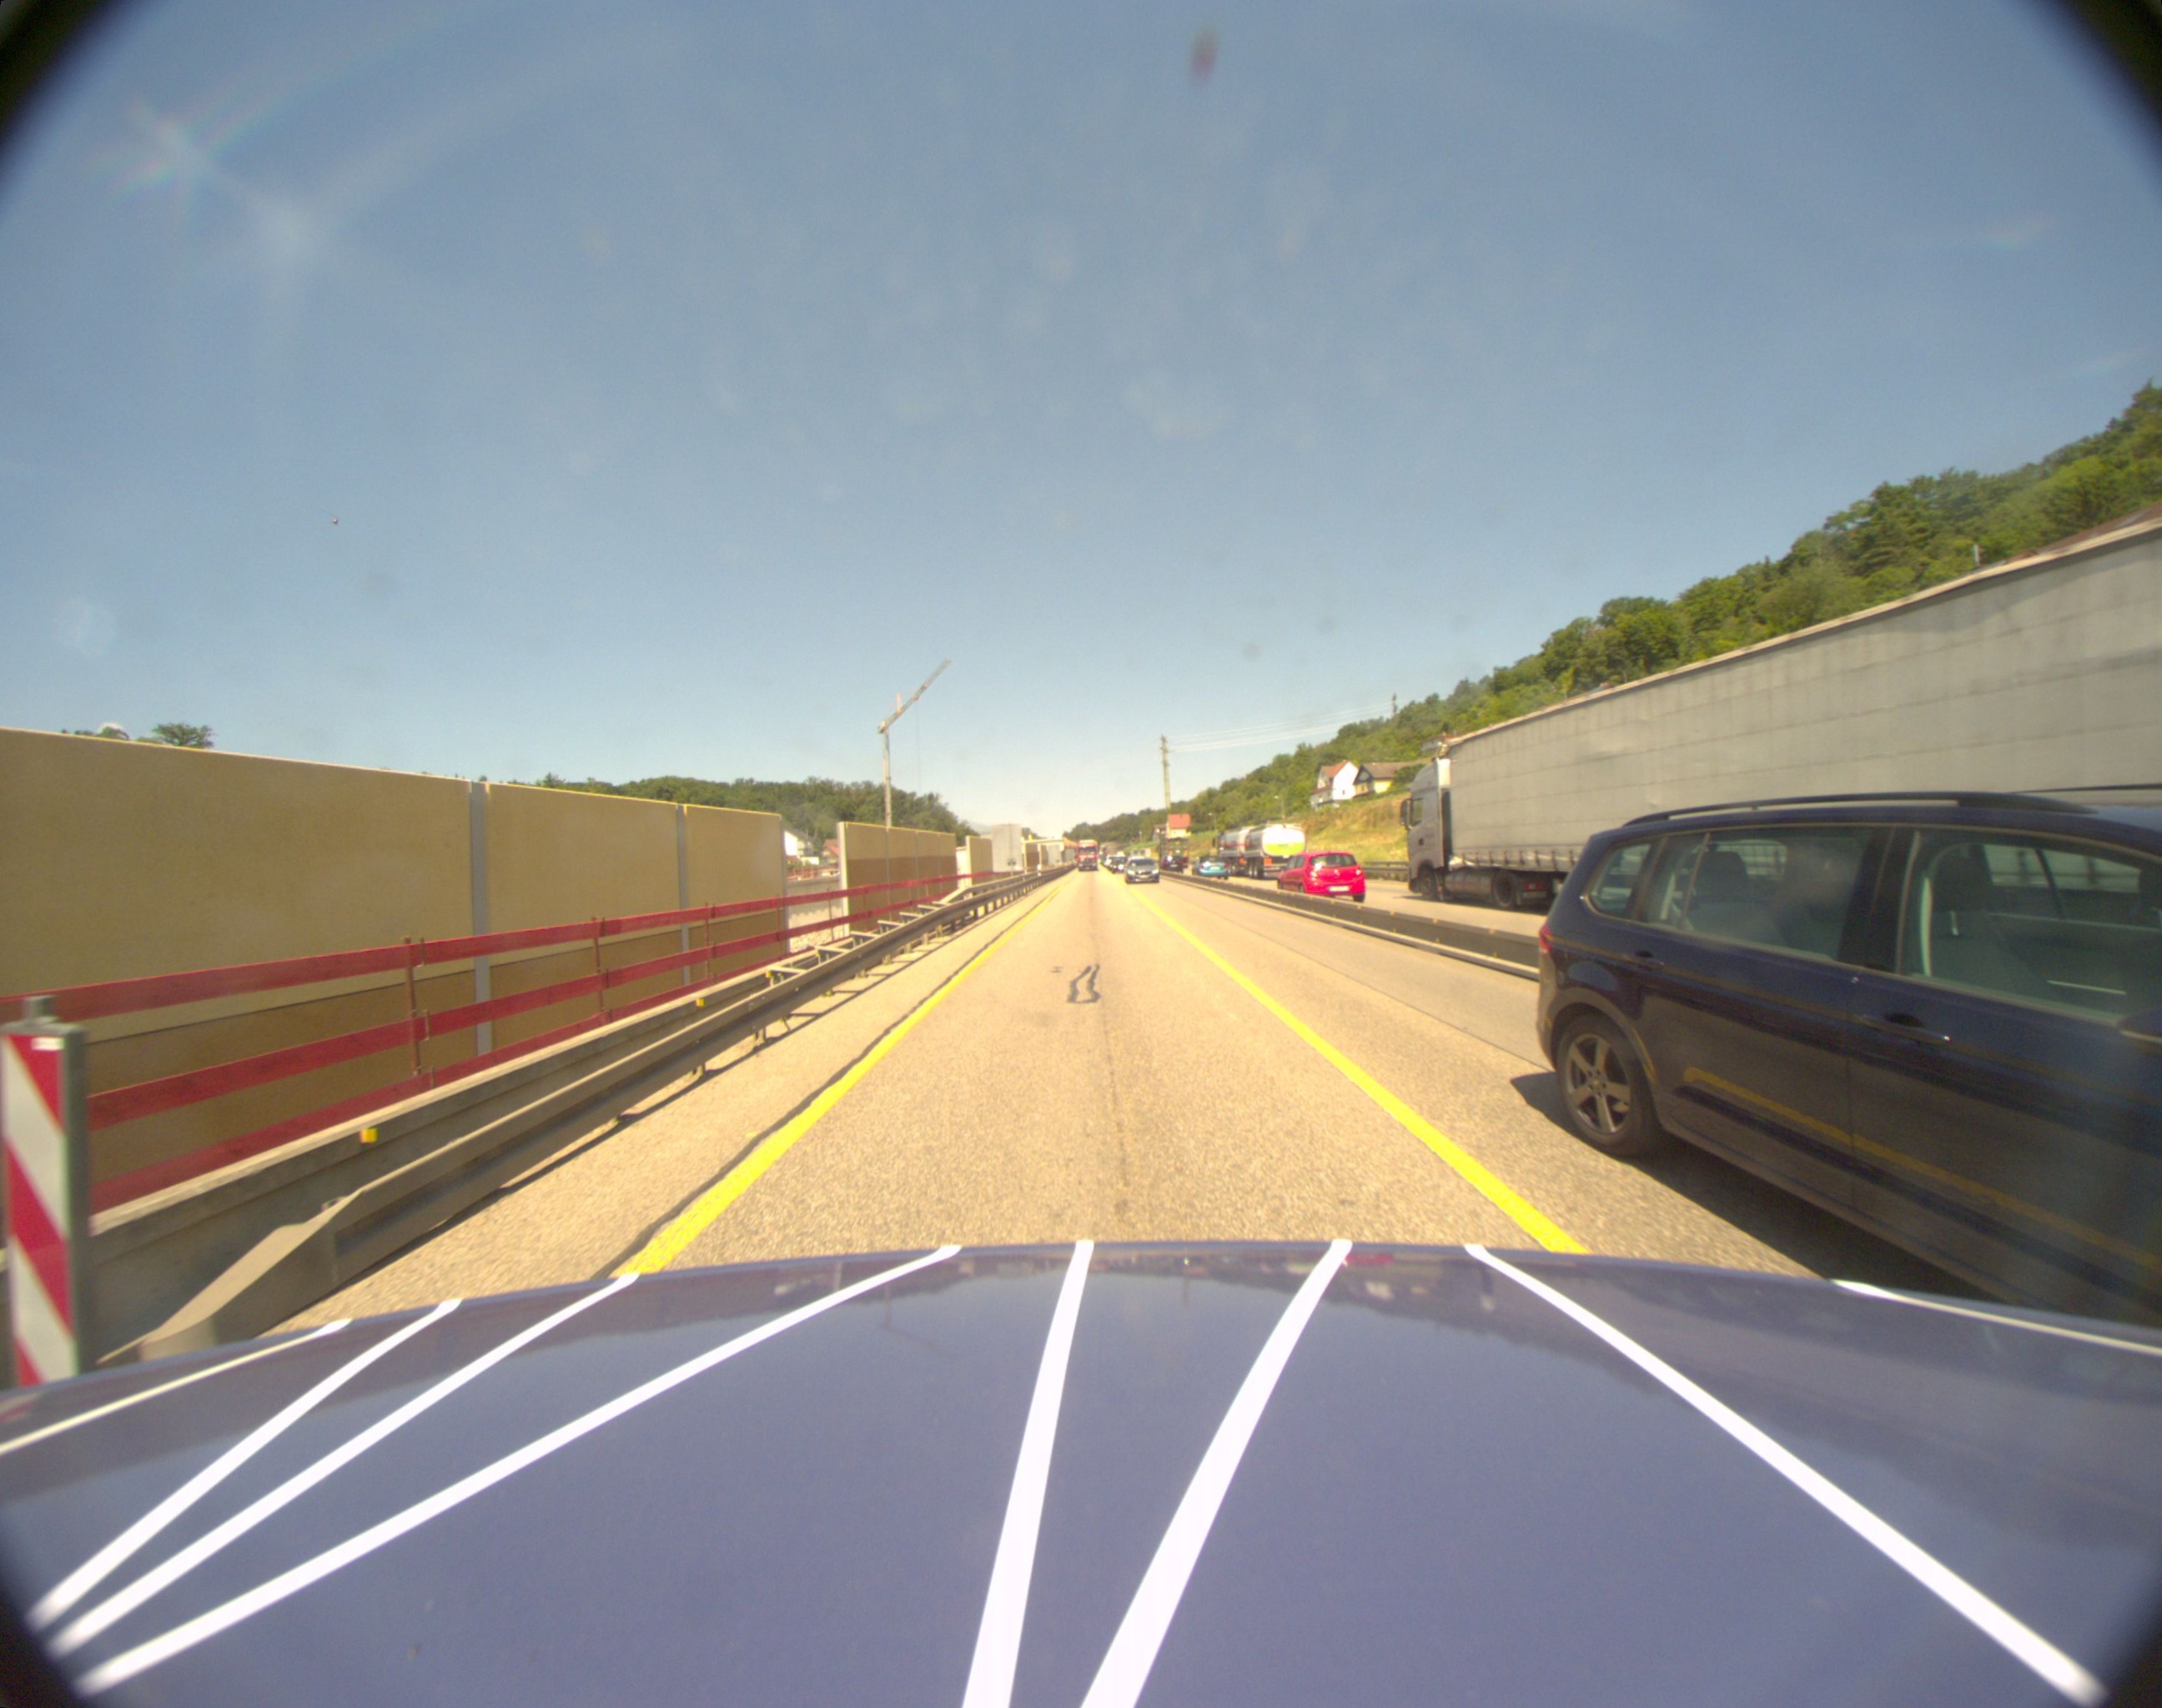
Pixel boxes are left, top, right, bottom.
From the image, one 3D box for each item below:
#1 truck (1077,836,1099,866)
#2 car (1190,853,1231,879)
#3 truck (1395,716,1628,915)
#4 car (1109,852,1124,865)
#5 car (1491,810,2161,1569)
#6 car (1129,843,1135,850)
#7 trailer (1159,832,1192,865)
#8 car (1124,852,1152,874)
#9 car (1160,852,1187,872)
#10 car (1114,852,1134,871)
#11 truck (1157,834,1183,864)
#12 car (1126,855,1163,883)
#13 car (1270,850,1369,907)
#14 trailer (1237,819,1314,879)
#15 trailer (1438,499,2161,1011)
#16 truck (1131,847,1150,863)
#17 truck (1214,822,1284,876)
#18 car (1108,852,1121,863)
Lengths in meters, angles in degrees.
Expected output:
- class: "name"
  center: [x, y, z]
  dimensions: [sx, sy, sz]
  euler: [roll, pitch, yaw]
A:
- class: "truck"
  center: [1.012, -0.343, 100.712]
  dimensions: [2.605, 3.704, 10.537]
  euler: [-2, -1, 2]
- class: "car"
  center: [7.481, 0.664, 44.218]
  dimensions: [1.670, 1.386, 3.905]
  euler: [-2, 0, 1]
- class: "truck"
  center: [10.325, -0.834, 18.922]
  dimensions: [2.752, 4.157, 5.288]
  euler: [-2, 0, 1]
- class: "car"
  center: [4.287, 0.575, 92.219]
  dimensions: [1.780, 1.486, 4.336]
  euler: [-2, -1, 2]
- class: "car"
  center: [3.298, 0.724, 2.142]
  dimensions: [1.780, 1.708, 4.653]
  euler: [-2, -1, 1]
- class: "car"
  center: [17.167, -2.426, 254.134]
  dimensions: [1.679, 2.203, 4.044]
  euler: [-2, 0, 0]
- class: "trailer"
  center: [11.840, -0.652, 95.975]
  dimensions: [2.920, 3.915, 10.527]
  euler: [-2, 0, 1]
- class: "car"
  center: [4.176, 0.674, 56.258]
  dimensions: [1.780, 1.447, 4.336]
  euler: [-2, -1, 2]
- class: "car"
  center: [7.901, 0.680, 65.275]
  dimensions: [1.722, 1.625, 4.499]
  euler: [-2, 0, 1]
- class: "car"
  center: [4.216, 0.718, 74.869]
  dimensions: [1.780, 1.727, 4.336]
  euler: [-2, -1, 2]
- class: "truck"
  center: [11.943, -0.653, 102.049]
  dimensions: [2.902, 3.915, 4.178]
  euler: [-2, 0, 1]
- class: "car"
  center: [3.548, 0.834, 43.260]
  dimensions: [1.780, 1.447, 4.336]
  euler: [-2, -1, 2]
- class: "car"
  center: [6.851, 0.640, 22.239]
  dimensions: [1.674, 1.457, 4.000]
  euler: [-2, 0, 1]
- class: "trailer"
  center: [10.723, -0.249, 42.516]
  dimensions: [2.619, 2.983, 6.370]
  euler: [-2, 0, 1]
- class: "trailer"
  center: [10.247, -0.850, 11.846]
  dimensions: [2.793, 4.157, 13.978]
  euler: [-2, 0, 1]
- class: "truck"
  center: [13.023, 0.293, 166.997]
  dimensions: [2.769, 3.303, 15.936]
  euler: [-2, 0, 0]
- class: "truck"
  center: [10.904, -0.325, 50.276]
  dimensions: [2.733, 3.124, 8.959]
  euler: [-2, 0, 1]
- class: "car"
  center: [4.695, 0.525, 106.810]
  dimensions: [1.780, 1.486, 4.336]
  euler: [-2, -1, 2]
